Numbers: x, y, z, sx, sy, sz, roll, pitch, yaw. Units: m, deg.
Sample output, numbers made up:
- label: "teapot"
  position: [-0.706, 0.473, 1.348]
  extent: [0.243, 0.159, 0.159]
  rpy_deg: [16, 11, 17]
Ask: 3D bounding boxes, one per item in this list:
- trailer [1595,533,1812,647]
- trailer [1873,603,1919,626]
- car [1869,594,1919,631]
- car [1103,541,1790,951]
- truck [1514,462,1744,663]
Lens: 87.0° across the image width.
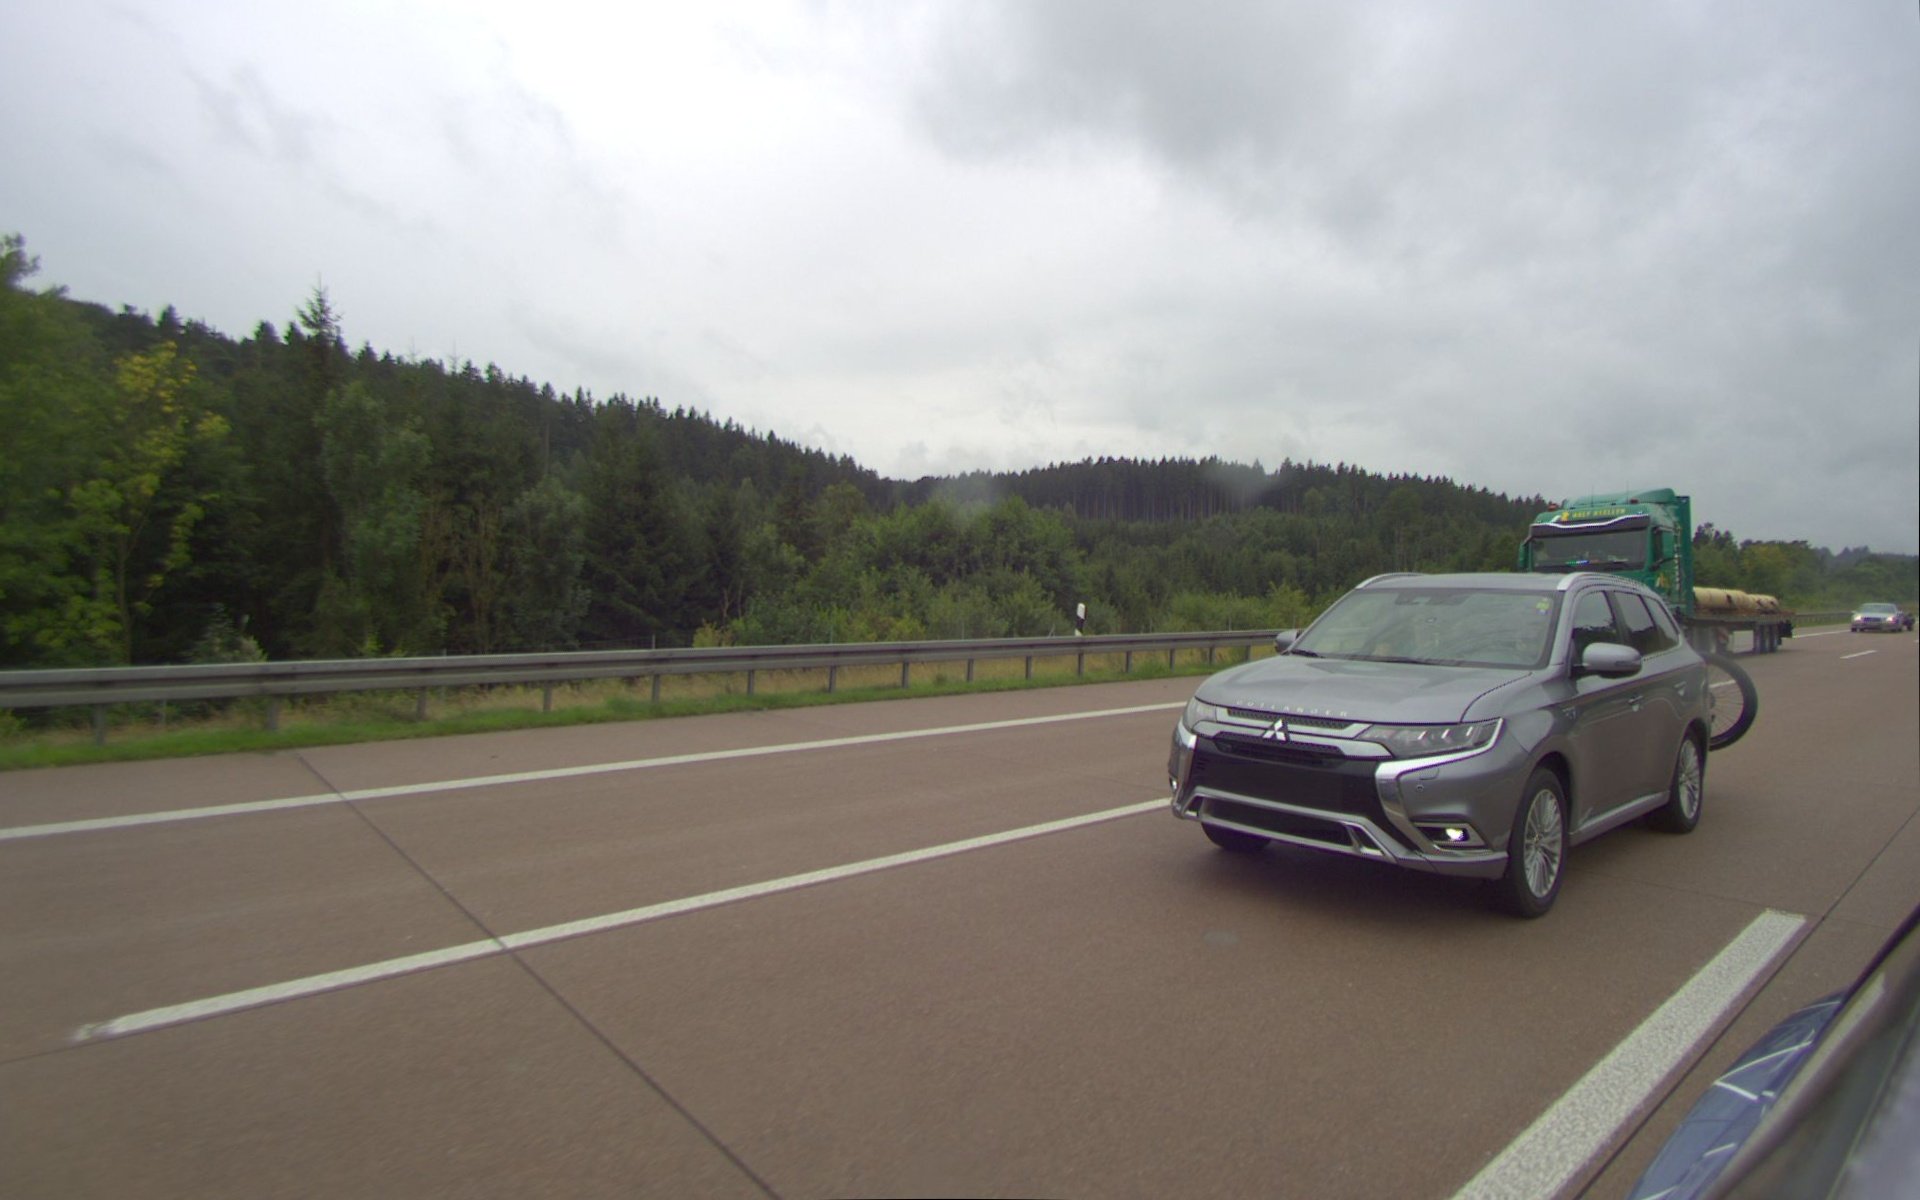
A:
- label: "trailer"
  position: [21.516, -0.374, 28.890]
  extent: [11.206, 2.709, 2.885]
  rpy_deg: [-2, 1, -43]
- label: "trailer"
  position: [49.714, 0.742, 53.311]
  extent: [4.560, 1.181, 1.974]
  rpy_deg: [0, 0, -43]
- label: "car"
  position: [46.432, 0.569, 50.144]
  extent: [4.894, 1.631, 1.700]
  rpy_deg: [-2, 2, -43]
- label: "car"
  position: [3.576, 0.503, 6.631]
  extent: [5.720, 1.612, 1.996]
  rpy_deg: [-2, 1, -41]
- label: "truck"
  position: [15.750, -0.832, 23.619]
  extent: [6.871, 4.014, 2.900]
  rpy_deg: [-2, 1, -43]
